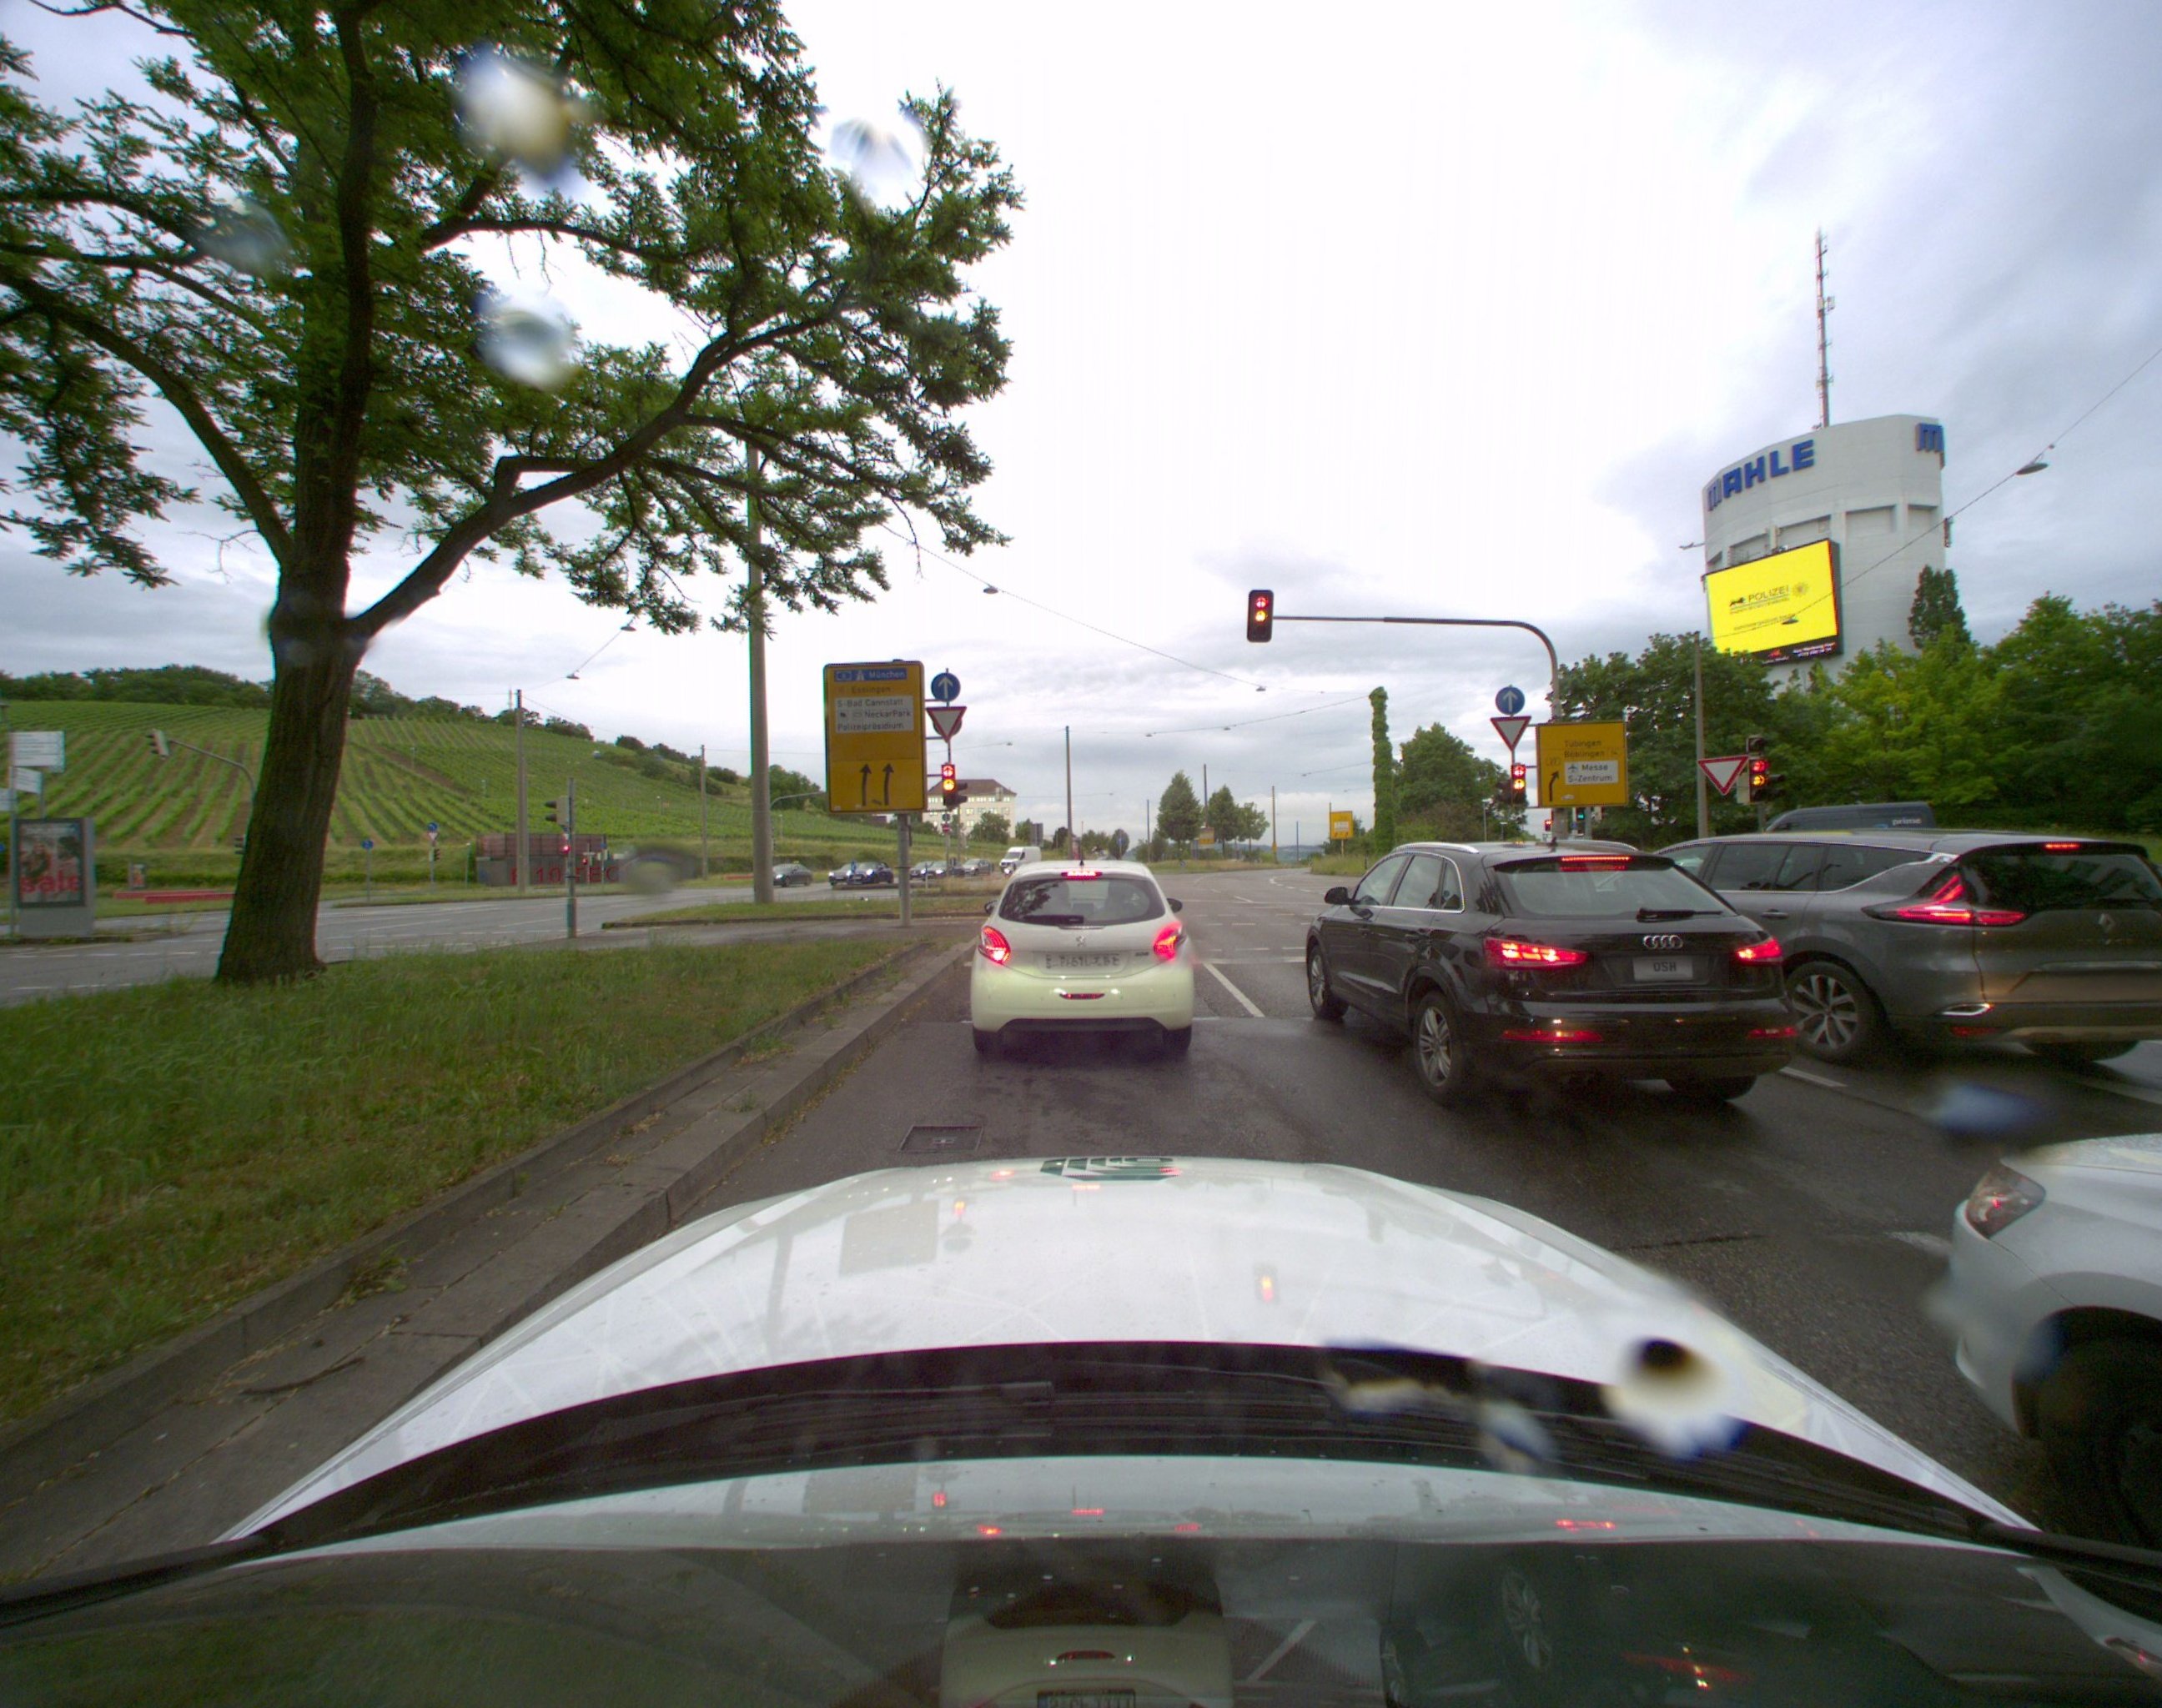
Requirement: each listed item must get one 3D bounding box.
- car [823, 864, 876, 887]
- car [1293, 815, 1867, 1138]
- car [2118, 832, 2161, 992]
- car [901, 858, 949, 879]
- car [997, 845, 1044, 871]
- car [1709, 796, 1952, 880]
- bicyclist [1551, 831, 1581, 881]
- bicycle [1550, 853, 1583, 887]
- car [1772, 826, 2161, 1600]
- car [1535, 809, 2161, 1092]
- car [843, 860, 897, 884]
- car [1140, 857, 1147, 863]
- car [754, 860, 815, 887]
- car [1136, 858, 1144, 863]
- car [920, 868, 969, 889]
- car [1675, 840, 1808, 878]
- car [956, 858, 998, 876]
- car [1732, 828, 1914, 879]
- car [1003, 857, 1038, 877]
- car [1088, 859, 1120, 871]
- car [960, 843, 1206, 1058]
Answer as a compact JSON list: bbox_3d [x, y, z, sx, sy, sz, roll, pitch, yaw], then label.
[{"bbox_3d":[-15.041,1.391,53.038,1.775,1.395,3.892,0,-1,9],"label":"car"},{"bbox_3d":[3.024,0.629,6.125,1.877,1.595,4.114,0,-1,1],"label":"car"},{"bbox_3d":[10.240,0.544,5.859,1.847,1.498,4.177,-3,0,28],"label":"car"},{"bbox_3d":[-12.525,1.159,65.702,1.810,1.472,4.689,-1,1,17],"label":"car"},{"bbox_3d":[-6.113,0.415,83.741,1.975,2.559,6.205,0,-1,25],"label":"car"},{"bbox_3d":[26.301,-0.466,28.955,5.953,2.741,2.094,-1,-2,27],"label":"car"},{"bbox_3d":[15.792,0.074,26.541,0.801,1.584,1.029,0,-1,28],"label":"bicyclist"},{"bbox_3d":[15.799,0.504,26.528,0.801,1.023,2.343,-3,-1,29],"label":"bicycle"},{"bbox_3d":[2.854,0.662,0.473,1.735,1.432,3.812,0,-1,1],"label":"car"},{"bbox_3d":[6.156,0.545,7.129,1.859,1.674,4.565,-1,1,0],"label":"car"},{"bbox_3d":[-12.535,1.083,48.609,1.776,1.395,3.890,0,-1,8],"label":"car"},{"bbox_3d":[18.170,1.768,236.947,1.836,1.486,3.999,-1,0,-1],"label":"car"},{"bbox_3d":[-18.466,1.189,50.909,1.821,1.623,4.571,0,-1,4],"label":"car"},{"bbox_3d":[17.788,1.844,245.340,1.836,1.486,3.999,-1,0,-1],"label":"car"},{"bbox_3d":[-10.174,1.801,61.061,1.888,1.489,4.908,0,-1,12],"label":"car"},{"bbox_3d":[28.518,0.225,35.329,4.094,1.564,1.881,-1,-1,22],"label":"car"},{"bbox_3d":[-9.483,1.155,74.594,1.976,1.575,4.218,0,-1,24],"label":"car"},{"bbox_3d":[24.179,0.042,26.751,4.012,1.569,1.881,-1,-2,25],"label":"car"},{"bbox_3d":[-4.602,0.995,62.565,1.766,1.425,4.382,-2,-1,7],"label":"car"},{"bbox_3d":[2.838,1.360,100.044,1.974,1.513,4.259,0,-1,35],"label":"car"},{"bbox_3d":[0.048,0.690,7.699,1.712,1.489,4.000,-1,-1,1],"label":"car"}]
